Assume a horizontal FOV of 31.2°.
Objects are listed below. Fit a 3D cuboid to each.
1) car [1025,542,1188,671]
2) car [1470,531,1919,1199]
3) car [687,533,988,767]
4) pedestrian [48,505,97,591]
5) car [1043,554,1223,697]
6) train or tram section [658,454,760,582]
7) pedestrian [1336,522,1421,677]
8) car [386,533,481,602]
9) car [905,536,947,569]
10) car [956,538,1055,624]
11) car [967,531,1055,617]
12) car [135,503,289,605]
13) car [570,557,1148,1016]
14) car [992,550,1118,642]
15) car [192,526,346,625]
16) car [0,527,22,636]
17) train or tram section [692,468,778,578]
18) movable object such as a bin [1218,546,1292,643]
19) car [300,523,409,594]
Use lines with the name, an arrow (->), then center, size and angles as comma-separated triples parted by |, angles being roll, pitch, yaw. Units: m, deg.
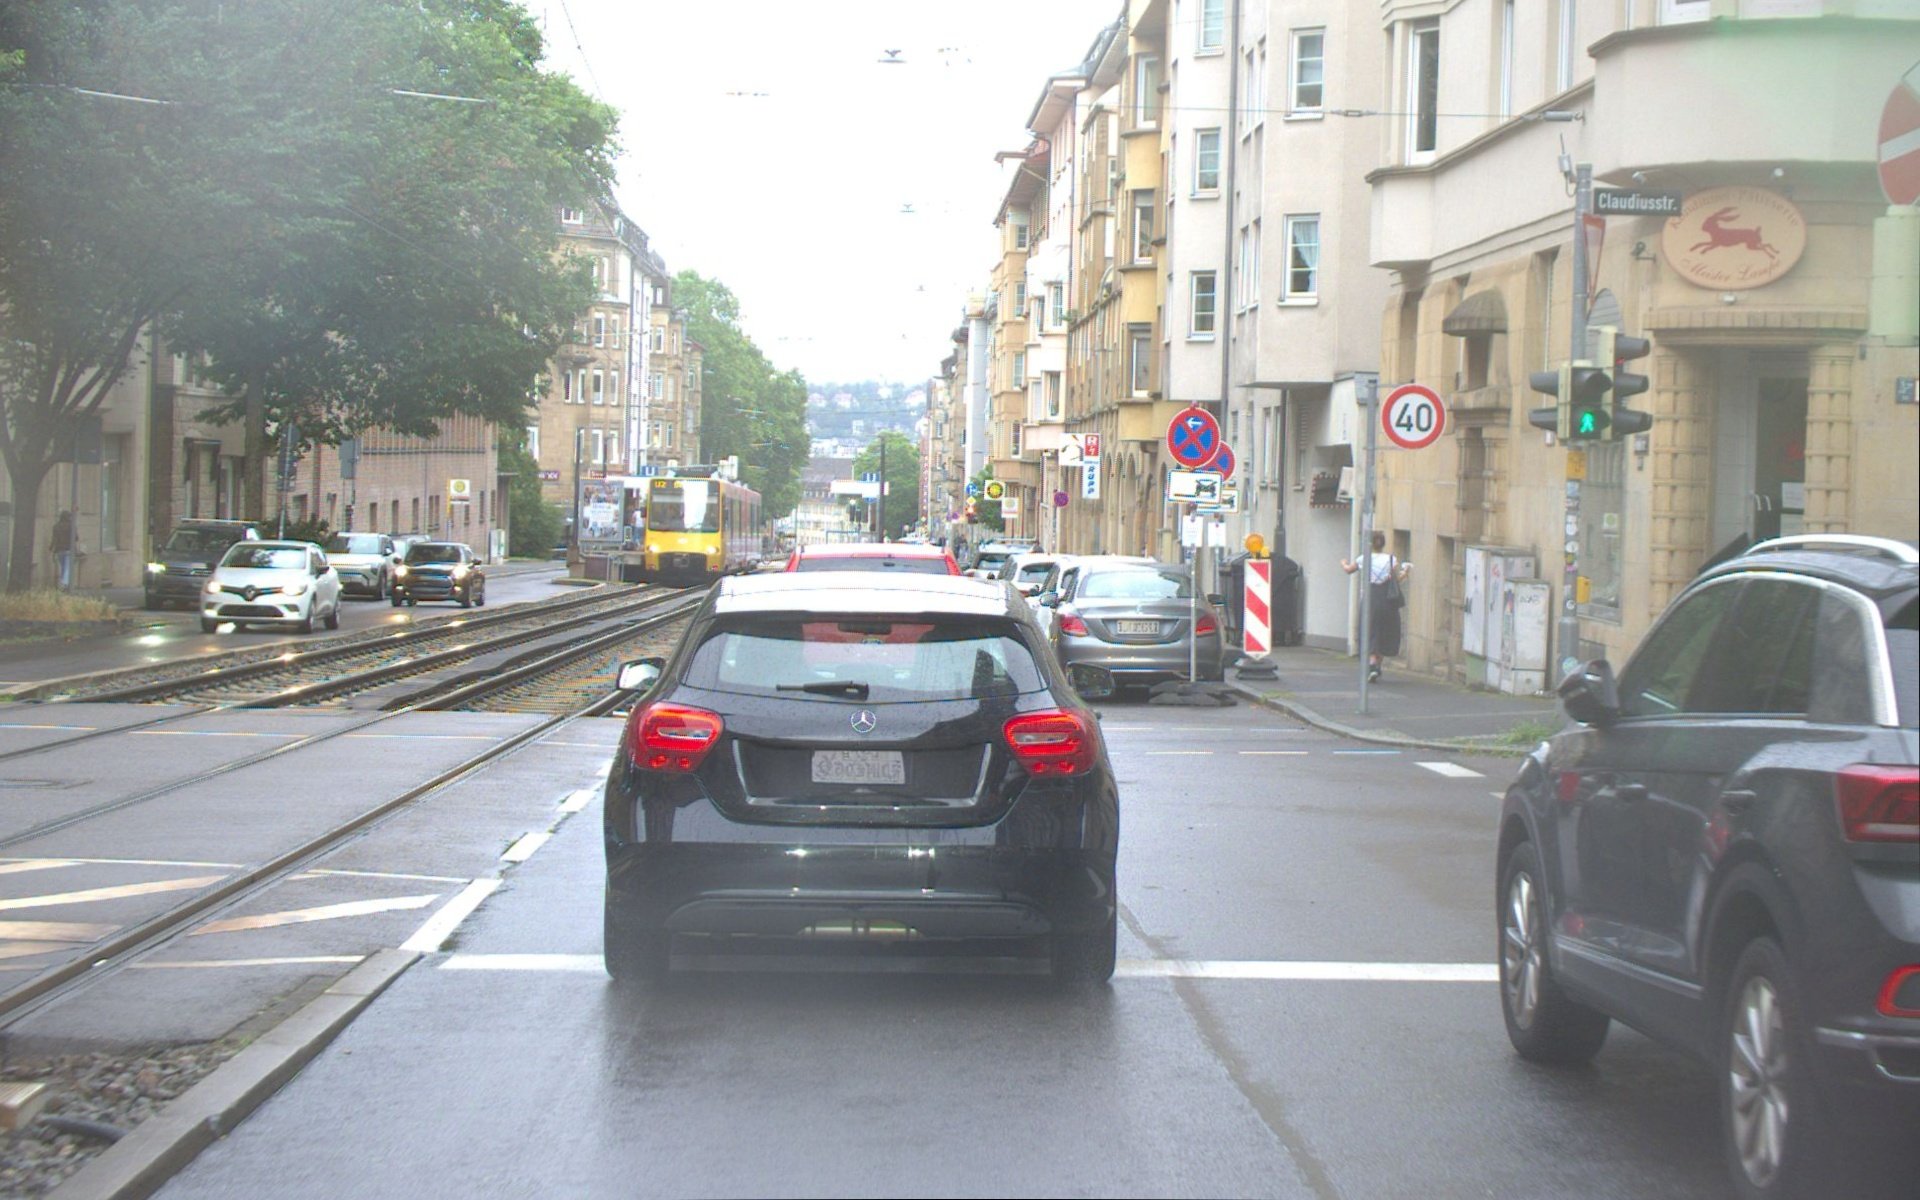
car -> 1.732, 0.062, 42.014 | 1.712, 1.463, 4.774 | 1, 0, -1
car -> 2.589, 0.642, 8.810 | 1.867, 1.543, 3.991 | 2, 1, -1
car -> -0.862, 0.312, 25.451 | 1.993, 1.520, 4.246 | 2, 1, -1
pedestrian -> -17.420, -1.016, 67.477 | 0.728, 1.657, 0.771 | 2, 1, -2
car -> 1.784, 0.244, 36.647 | 1.711, 1.405, 4.817 | 1, 0, 1
train or tram section -> -8.531, -2.780, 118.649 | 2.745, 4.048, 17.216 | 1, 1, -2
pedestrian -> 4.629, -0.009, 38.032 | 0.804, 1.681, 0.754 | 1, 0, -1
car -> -11.434, -0.720, 74.896 | 1.653, 1.458, 3.735 | 0, 1, -3
car -> -1.634, -2.311, 166.456 | 1.887, 1.520, 4.245 | 2, 1, 1
car -> 0.910, -0.366, 67.506 | 1.841, 1.602, 4.760 | 1, 0, 1
car -> 1.064, -0.551, 73.719 | 1.778, 1.744, 4.548 | 1, 0, 0
car -> -14.113, -0.896, 65.088 | 1.953, 1.736, 4.779 | 4, 1, -3
car -> -0.354, 0.579, 13.036 | 1.834, 1.448, 3.902 | 1, 1, -1
car -> 1.488, -0.069, 55.073 | 1.789, 1.381, 4.395 | 1, 0, -1
car -> -10.960, -0.383, 54.734 | 1.780, 1.497, 4.063 | 1, 0, -3
car -> -13.545, -0.250, 44.220 | 1.780, 1.455, 4.979 | 1, 0, -3
train or tram section -> -8.741, -3.008, 135.049 | 2.745, 4.048, 15.663 | 1, 1, -2
movable object such as a bin -> 4.527, -0.087, 52.885 | 0.980, 1.463, 1.273 | 1, 0, -1
car -> -14.481, -1.018, 82.432 | 1.961, 1.600, 4.329 | 2, 1, -2
